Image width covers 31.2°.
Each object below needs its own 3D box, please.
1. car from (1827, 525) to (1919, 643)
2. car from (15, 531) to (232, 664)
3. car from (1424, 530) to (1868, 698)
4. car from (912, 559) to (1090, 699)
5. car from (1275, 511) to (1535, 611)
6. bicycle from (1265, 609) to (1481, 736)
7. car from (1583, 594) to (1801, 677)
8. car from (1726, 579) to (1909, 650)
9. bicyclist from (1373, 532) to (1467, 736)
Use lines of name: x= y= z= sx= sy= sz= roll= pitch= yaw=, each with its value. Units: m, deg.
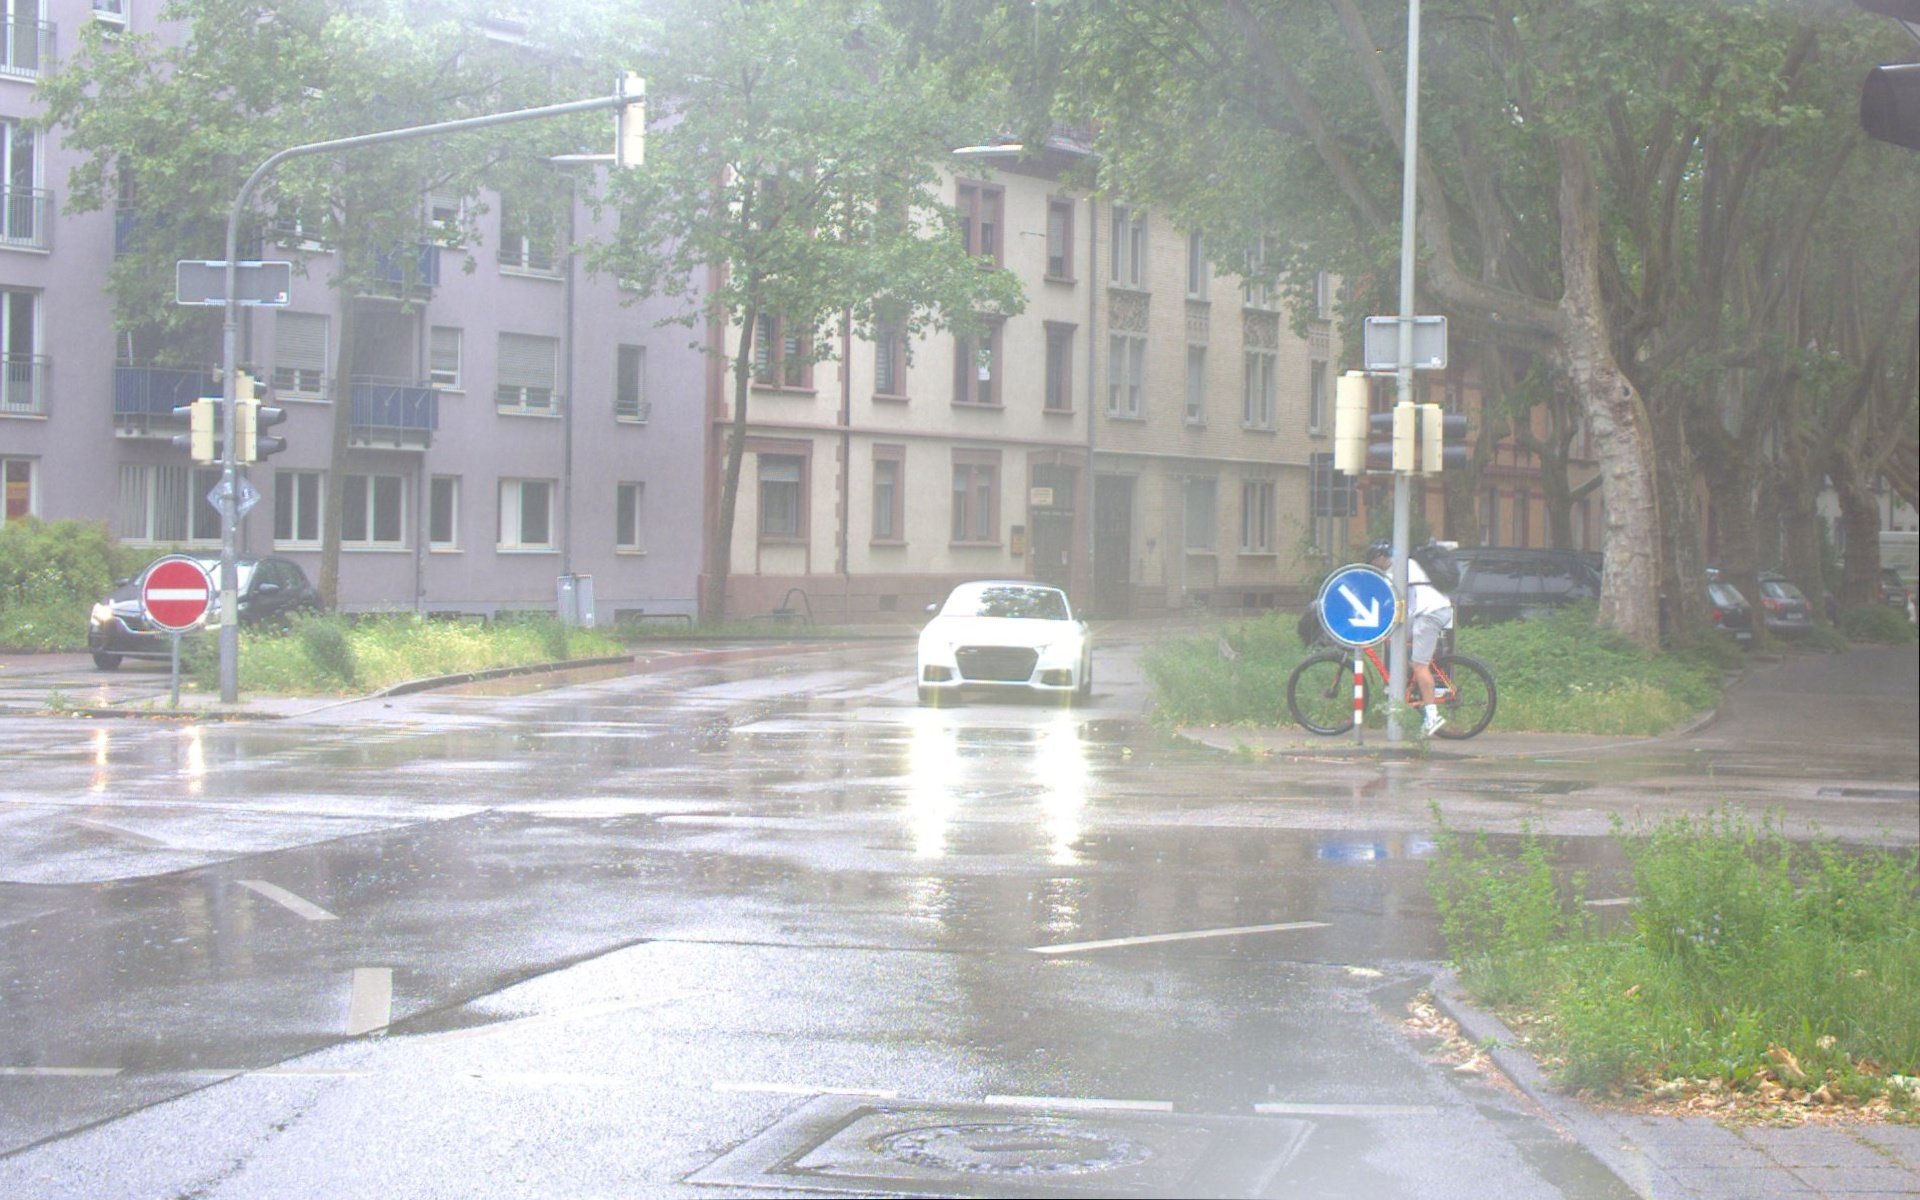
car: x=24.398 y=-0.407 z=87.727 sx=2.033 sy=2.938 sz=4.773 roll=1 pitch=1 yaw=-21
car: x=-10.044 y=-0.063 z=41.510 sx=1.751 sy=1.506 sz=3.839 roll=1 pitch=1 yaw=-2
car: x=6.503 y=0.109 z=32.642 sx=3.989 sy=1.481 sz=1.999 roll=1 pitch=1 yaw=12
car: x=0.493 y=0.287 z=39.089 sx=1.884 sy=1.431 sz=4.000 roll=1 pitch=1 yaw=1
car: x=6.965 y=-0.615 z=53.649 sx=3.868 sy=1.481 sz=1.715 roll=1 pitch=0 yaw=12
bicycle: x=3.678 y=0.640 z=30.614 sx=1.873 sy=1.077 sz=0.657 roll=1 pitch=0 yaw=8
car: x=13.932 y=0.654 z=65.459 sx=3.989 sy=1.481 sz=1.999 roll=1 pitch=1 yaw=12
car: x=19.578 y=0.314 z=78.666 sx=3.989 sy=1.542 sz=1.999 roll=1 pitch=0 yaw=12
bicyclist: x=4.086 y=0.295 z=30.558 sx=0.795 sy=1.780 sz=0.697 roll=1 pitch=0 yaw=8
